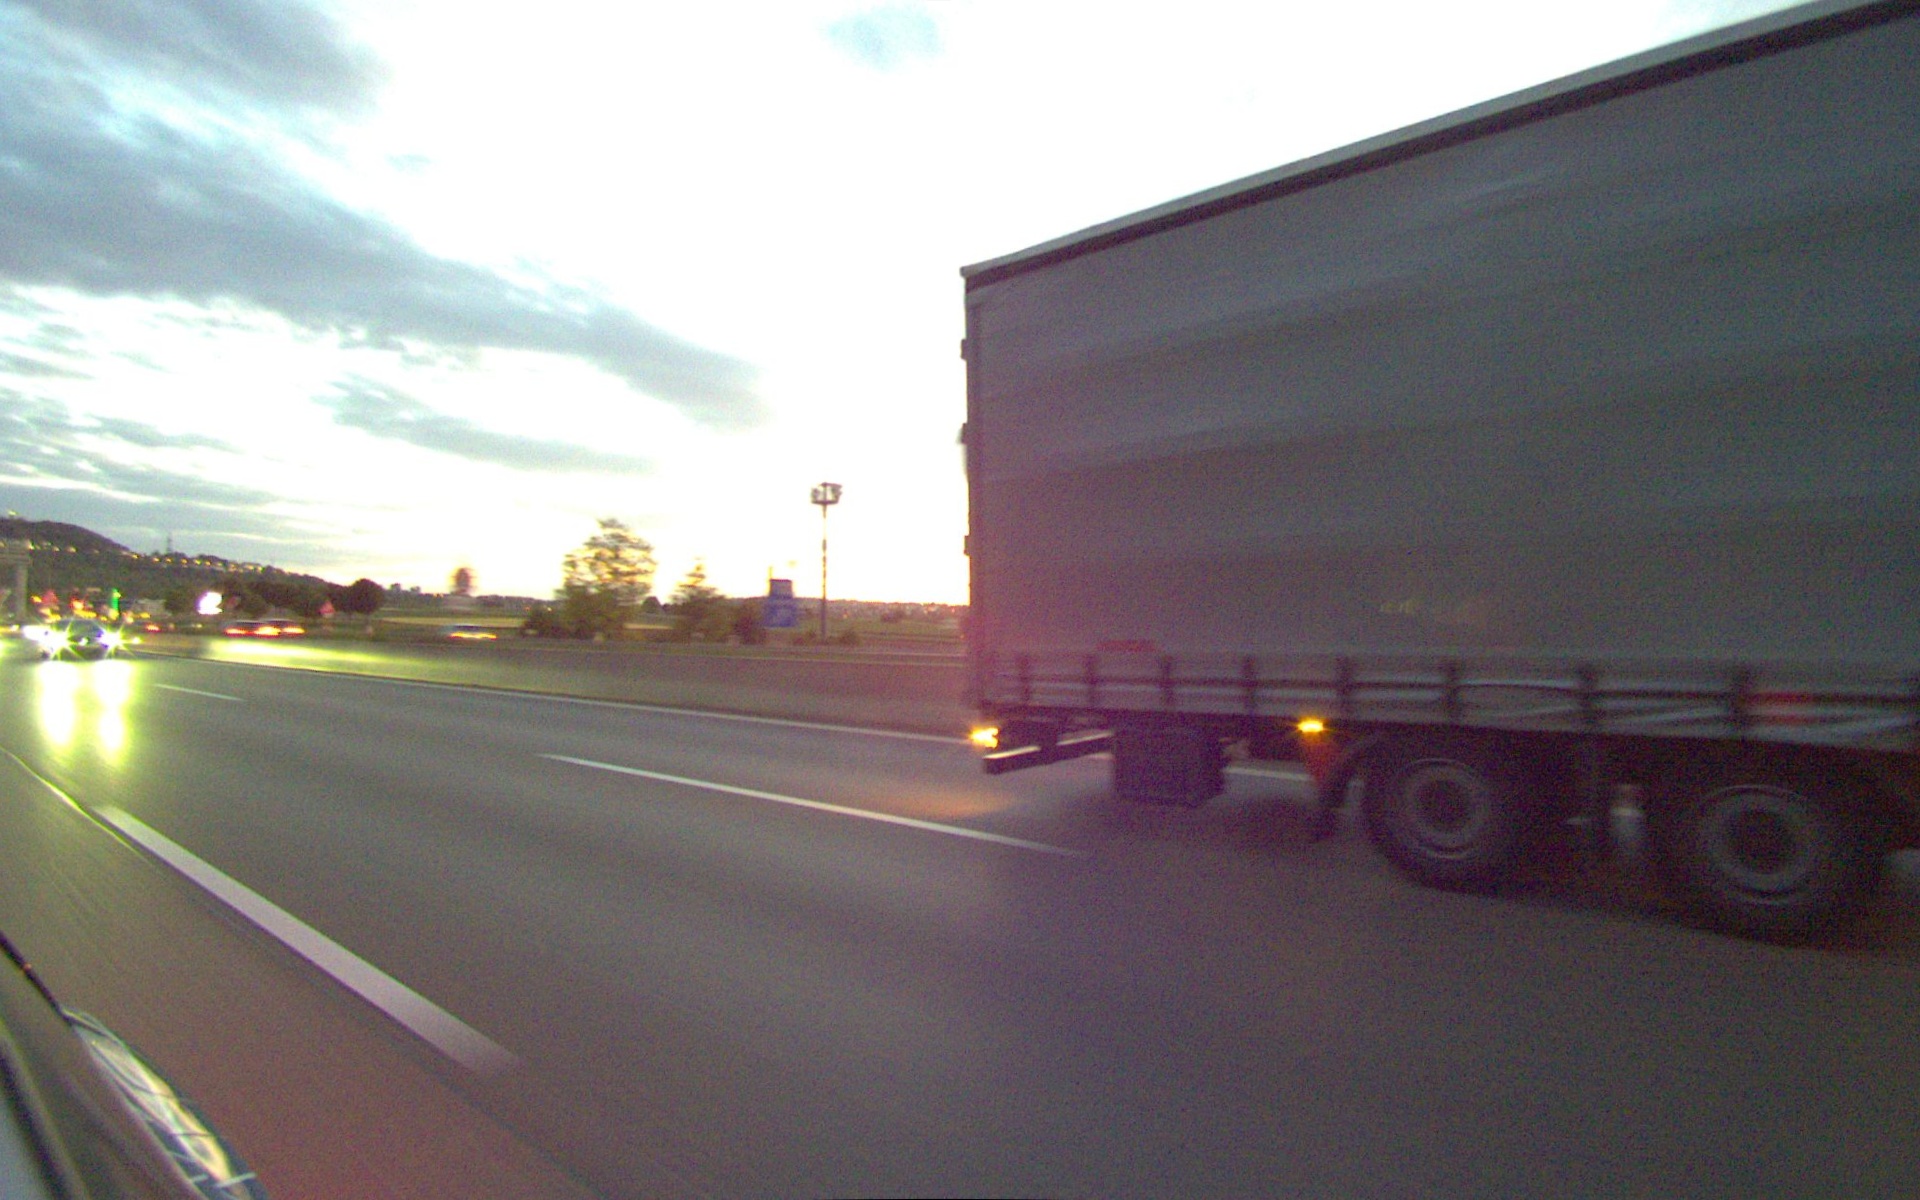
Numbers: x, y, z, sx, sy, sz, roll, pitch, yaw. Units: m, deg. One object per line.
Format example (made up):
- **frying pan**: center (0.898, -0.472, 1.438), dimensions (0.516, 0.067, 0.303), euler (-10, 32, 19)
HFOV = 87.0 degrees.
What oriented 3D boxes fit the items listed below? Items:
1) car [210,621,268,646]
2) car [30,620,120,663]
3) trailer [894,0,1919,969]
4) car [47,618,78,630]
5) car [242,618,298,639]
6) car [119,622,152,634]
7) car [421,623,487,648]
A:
- **car**: center (-37.818, 1.737, 53.054), dimensions (3.998, 1.187, 1.648), euler (-1, 0, 41)
- **car**: center (-32.849, 1.485, 37.511), dimensions (5.392, 1.448, 1.795), euler (-1, 0, 41)
- **trailer**: center (5.806, -0.658, 3.762), dimensions (14.522, 4.116, 2.764), euler (-1, -1, 42)
- **car**: center (-80.507, 2.128, 90.762), dimensions (3.564, 0.996, 1.675), euler (-1, 0, 41)
- **car**: center (-42.594, 1.733, 62.462), dimensions (3.998, 1.187, 1.911), euler (-1, 0, 41)
- **car**: center (-72.629, 2.452, 89.089), dimensions (4.523, 0.996, 1.563), euler (-1, 0, 42)
- **car**: center (-26.423, 1.825, 52.783), dimensions (3.998, 1.187, 1.700), euler (-1, 0, 41)
